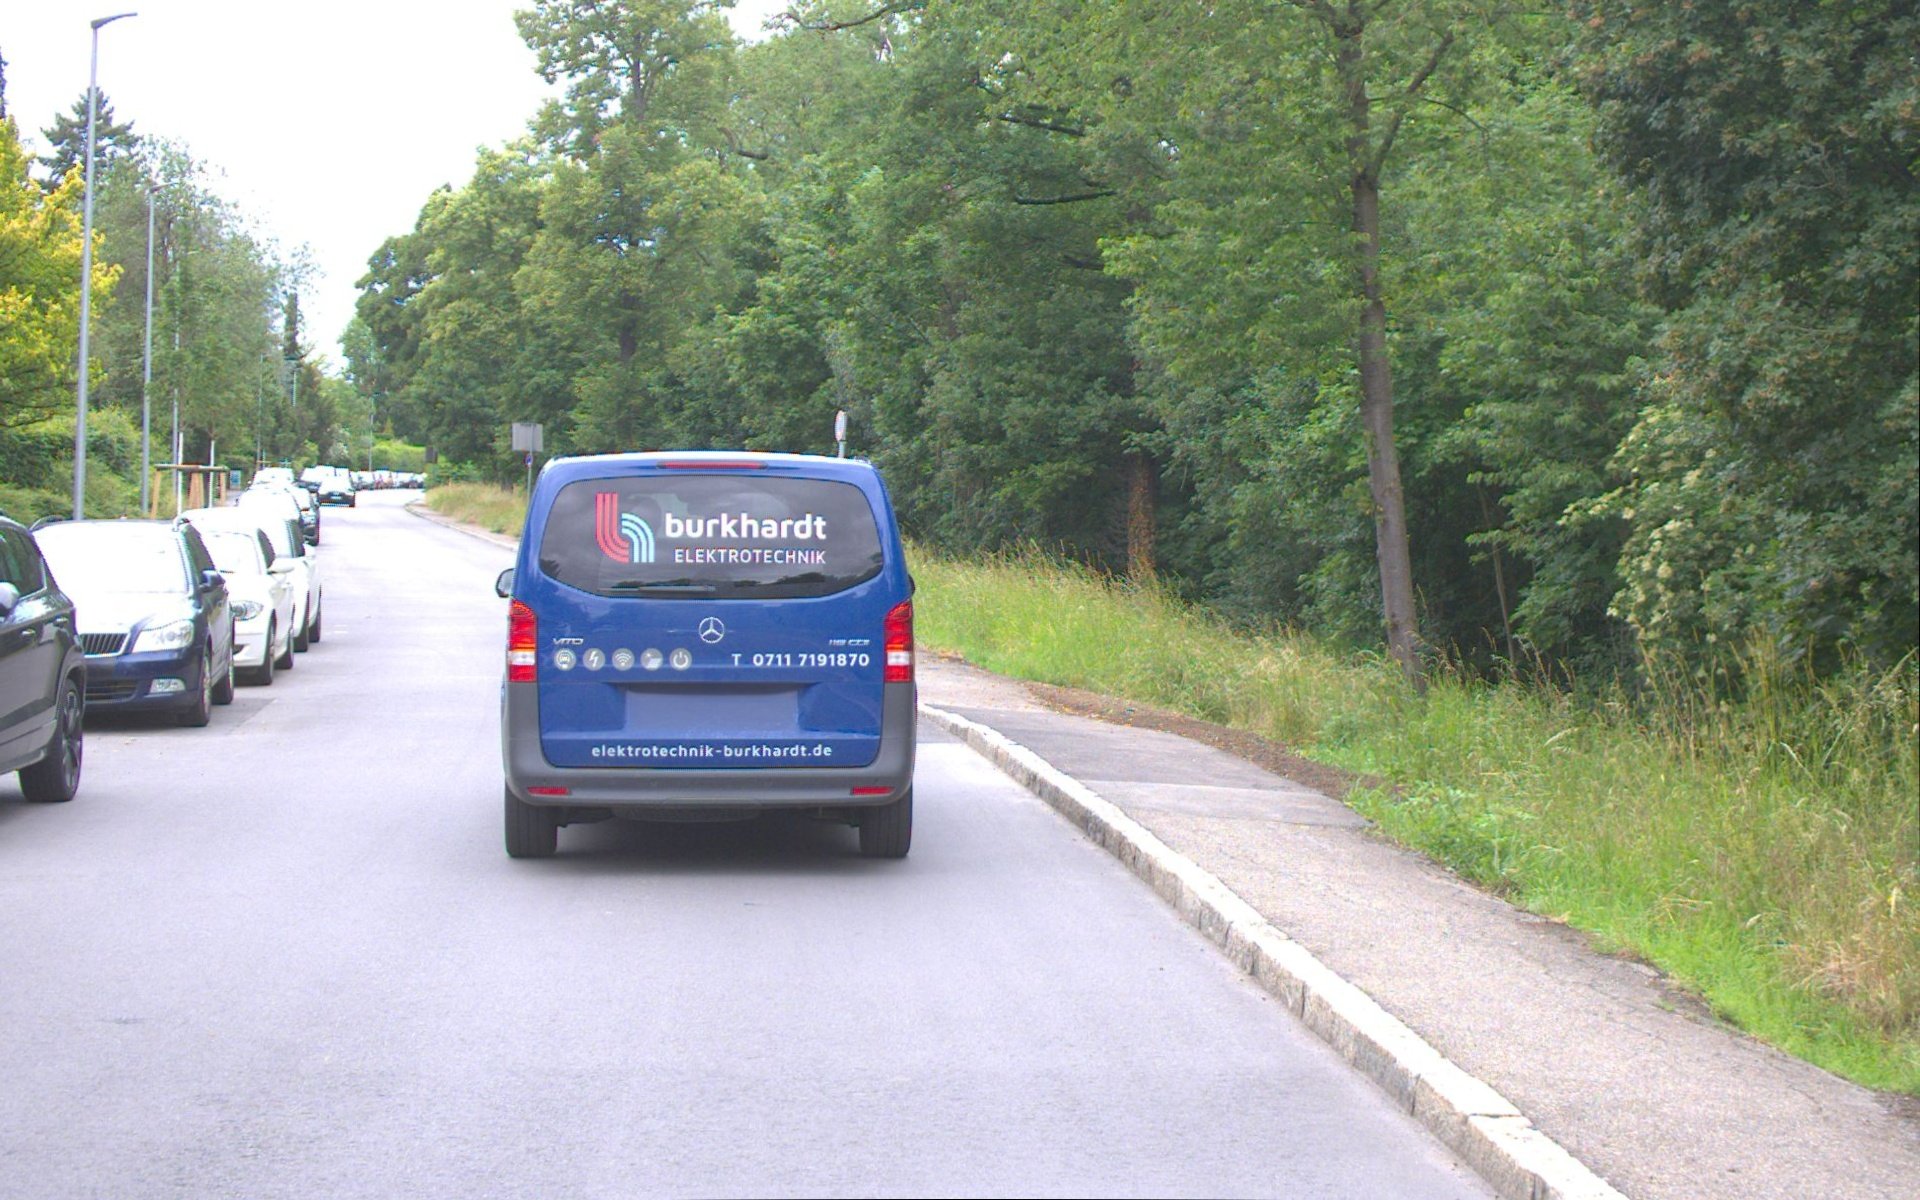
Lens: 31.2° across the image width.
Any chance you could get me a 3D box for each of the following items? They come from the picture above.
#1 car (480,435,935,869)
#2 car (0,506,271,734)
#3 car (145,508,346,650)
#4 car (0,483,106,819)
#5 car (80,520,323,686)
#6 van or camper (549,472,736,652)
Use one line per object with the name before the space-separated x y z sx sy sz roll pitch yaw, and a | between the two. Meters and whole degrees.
car | -1.267 0.206 16.925 1.913 1.831 4.294 1 0 -5
car | -6.197 0.085 25.556 1.607 1.508 3.857 1 2 -4
car | -7.702 -0.265 37.325 1.607 1.403 3.857 1 2 -4
car | -5.533 0.213 17.000 1.815 1.610 4.224 1 1 -4
car | -6.807 -0.019 31.186 1.607 1.338 3.857 1 2 -4
van or camper | -3.757 -0.508 40.200 2.019 1.950 4.898 -1 2 -6
